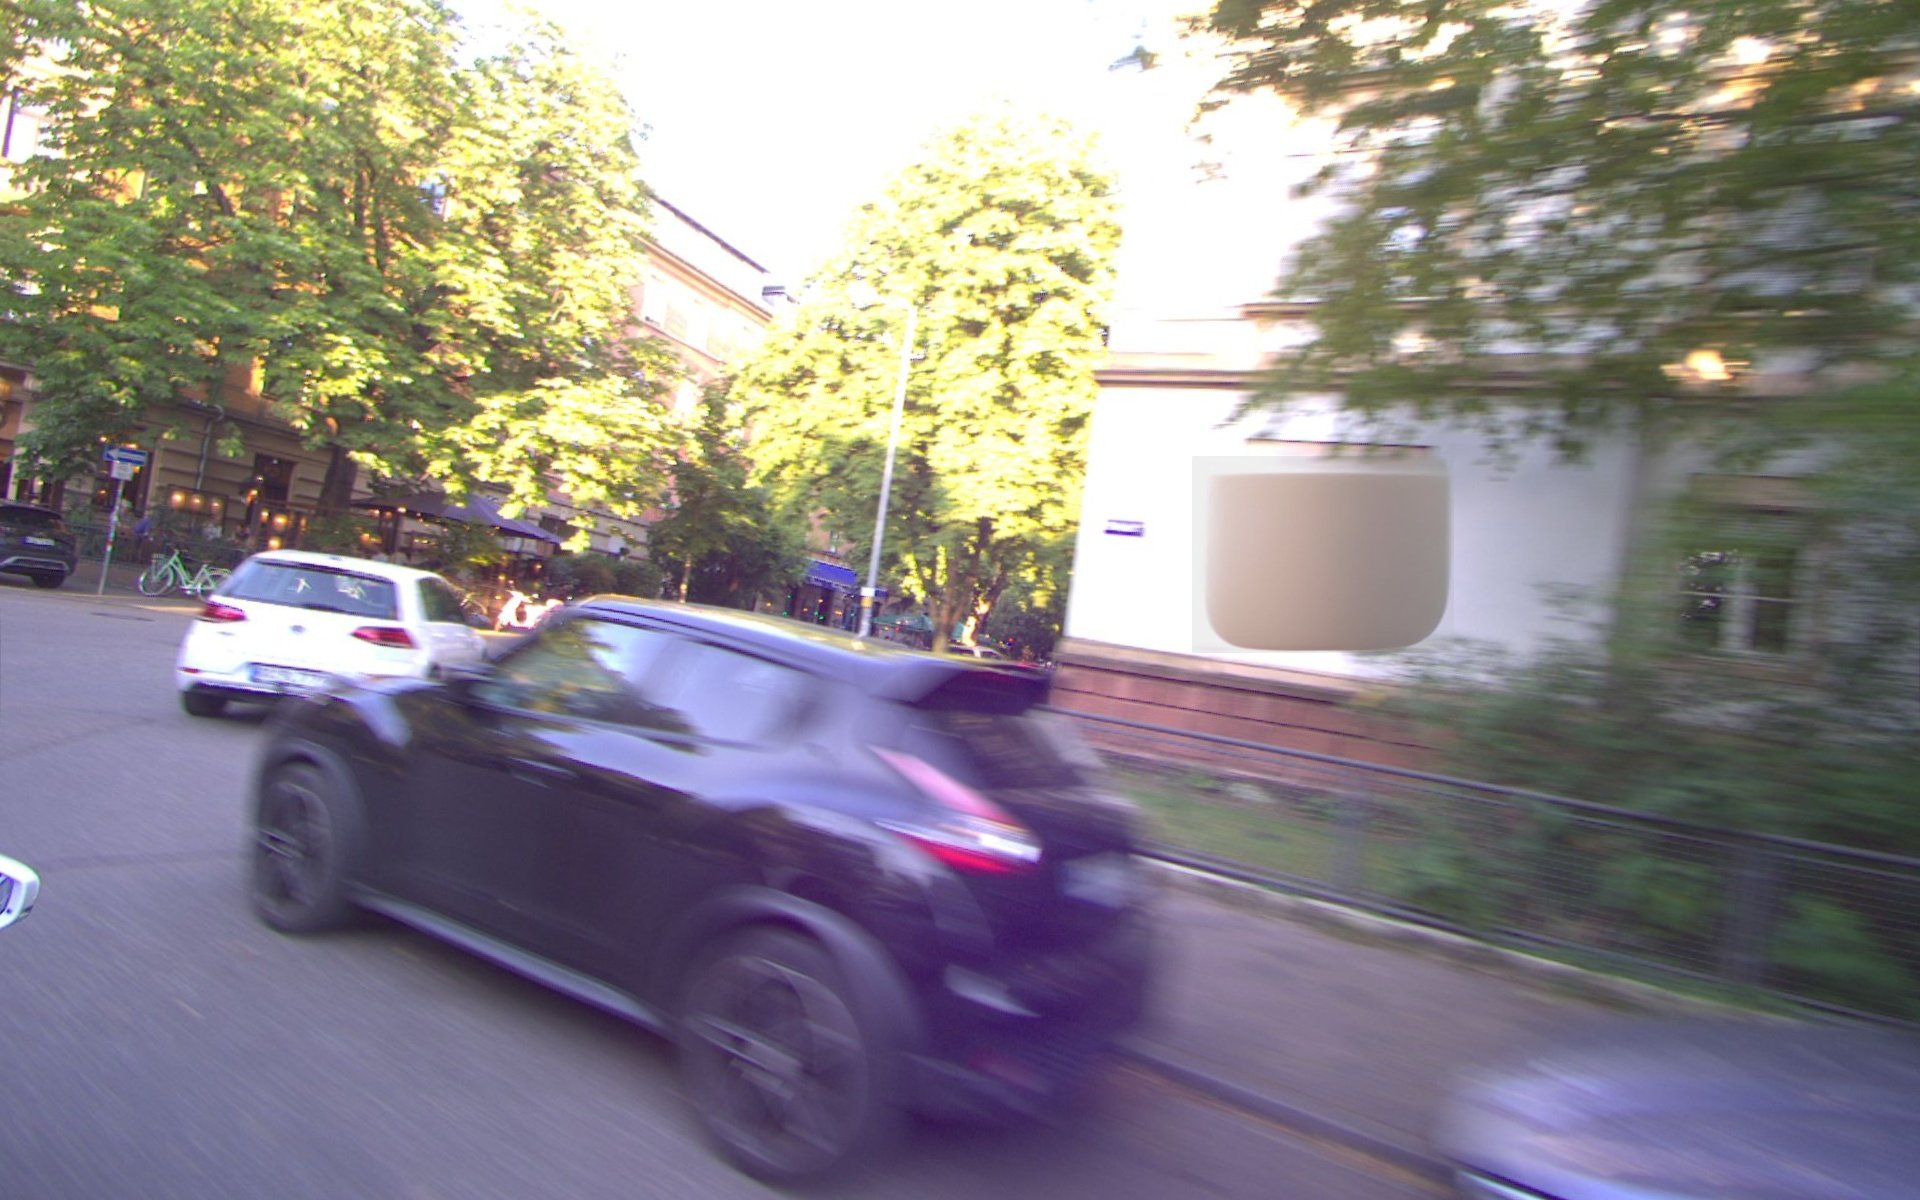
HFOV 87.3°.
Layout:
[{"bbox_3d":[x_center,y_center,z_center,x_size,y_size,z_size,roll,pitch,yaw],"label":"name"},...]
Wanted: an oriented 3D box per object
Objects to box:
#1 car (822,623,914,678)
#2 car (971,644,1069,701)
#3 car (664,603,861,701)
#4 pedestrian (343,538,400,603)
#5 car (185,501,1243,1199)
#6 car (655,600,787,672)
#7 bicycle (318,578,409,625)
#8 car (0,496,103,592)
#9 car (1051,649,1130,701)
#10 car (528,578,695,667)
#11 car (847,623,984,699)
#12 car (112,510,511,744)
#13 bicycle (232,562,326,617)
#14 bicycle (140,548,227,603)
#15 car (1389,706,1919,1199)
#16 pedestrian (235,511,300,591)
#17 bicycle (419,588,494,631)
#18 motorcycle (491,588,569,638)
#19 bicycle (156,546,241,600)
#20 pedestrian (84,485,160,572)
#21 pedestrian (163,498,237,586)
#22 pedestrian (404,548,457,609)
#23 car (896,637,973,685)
[{"bbox_3d":[-3.370,1.928,37.616,1.598,1.570,3.772,7,-4,25],"label":"car"},{"bbox_3d":[2.082,2.475,33.793,1.848,1.545,3.975,4,-5,25],"label":"car"},{"bbox_3d":[-3.894,1.135,20.543,1.848,1.545,3.975,4,-5,25],"label":"car"},{"bbox_3d":[-15.081,-0.759,25.794,0.747,1.498,0.776,9,-1,21],"label":"pedestrian"},{"bbox_3d":[-1.121,0.665,4.051,3.905,1.588,1.699,7,-2,31],"label":"car"},{"bbox_3d":[-6.874,1.109,29.312,1.598,1.570,3.772,7,-4,25],"label":"car"},{"bbox_3d":[-13.932,0.054,23.569,0.393,0.895,1.977,9,-2,18],"label":"bicycle"},{"bbox_3d":[-19.077,-1.318,19.186,3.823,1.542,1.924,10,-2,7],"label":"car"},{"bbox_3d":[5.156,2.967,39.283,1.848,1.673,3.975,4,-5,25],"label":"car"},{"bbox_3d":[-8.681,0.626,25.363,1.598,1.623,3.772,10,-2,25],"label":"car"},{"bbox_3d":[-1.062,1.643,26.223,1.848,1.545,3.975,4,-5,25],"label":"car"},{"bbox_3d":[-5.733,0.249,9.567,1.854,1.482,3.962,10,-3,-15],"label":"car"},{"bbox_3d":[-14.929,-0.216,22.096,0.315,0.967,1.570,8,-2,43],"label":"bicycle"},{"bbox_3d":[-16.377,-0.514,21.235,1.343,0.924,0.319,10,-1,-11],"label":"bicycle"},{"bbox_3d":[2.882,1.237,1.403,4.138,1.493,1.701,7,-2,27],"label":"car"},{"bbox_3d":[-17.370,-1.225,25.237,0.827,1.824,0.776,9,-1,17],"label":"pedestrian"},{"bbox_3d":[-12.885,0.256,25.802,0.393,0.895,1.882,9,-2,18],"label":"bicycle"},{"bbox_3d":[-11.848,0.374,27.783,0.511,1.093,1.834,8,-2,38],"label":"motorcycle"},{"bbox_3d":[-16.345,-0.569,21.608,1.343,0.924,0.319,10,-1,-11],"label":"bicycle"},{"bbox_3d":[-19.446,-1.650,23.359,0.761,1.824,0.844,9,-1,11],"label":"pedestrian"},{"bbox_3d":[-17.361,-1.313,22.986,0.827,1.824,0.776,9,-1,17],"label":"pedestrian"},{"bbox_3d":[-14.384,-0.580,27.322,0.747,1.498,0.776,9,-1,21],"label":"pedestrian"},{"bbox_3d":[-1.019,2.623,42.443,1.598,1.570,3.772,7,-4,25],"label":"car"}]
